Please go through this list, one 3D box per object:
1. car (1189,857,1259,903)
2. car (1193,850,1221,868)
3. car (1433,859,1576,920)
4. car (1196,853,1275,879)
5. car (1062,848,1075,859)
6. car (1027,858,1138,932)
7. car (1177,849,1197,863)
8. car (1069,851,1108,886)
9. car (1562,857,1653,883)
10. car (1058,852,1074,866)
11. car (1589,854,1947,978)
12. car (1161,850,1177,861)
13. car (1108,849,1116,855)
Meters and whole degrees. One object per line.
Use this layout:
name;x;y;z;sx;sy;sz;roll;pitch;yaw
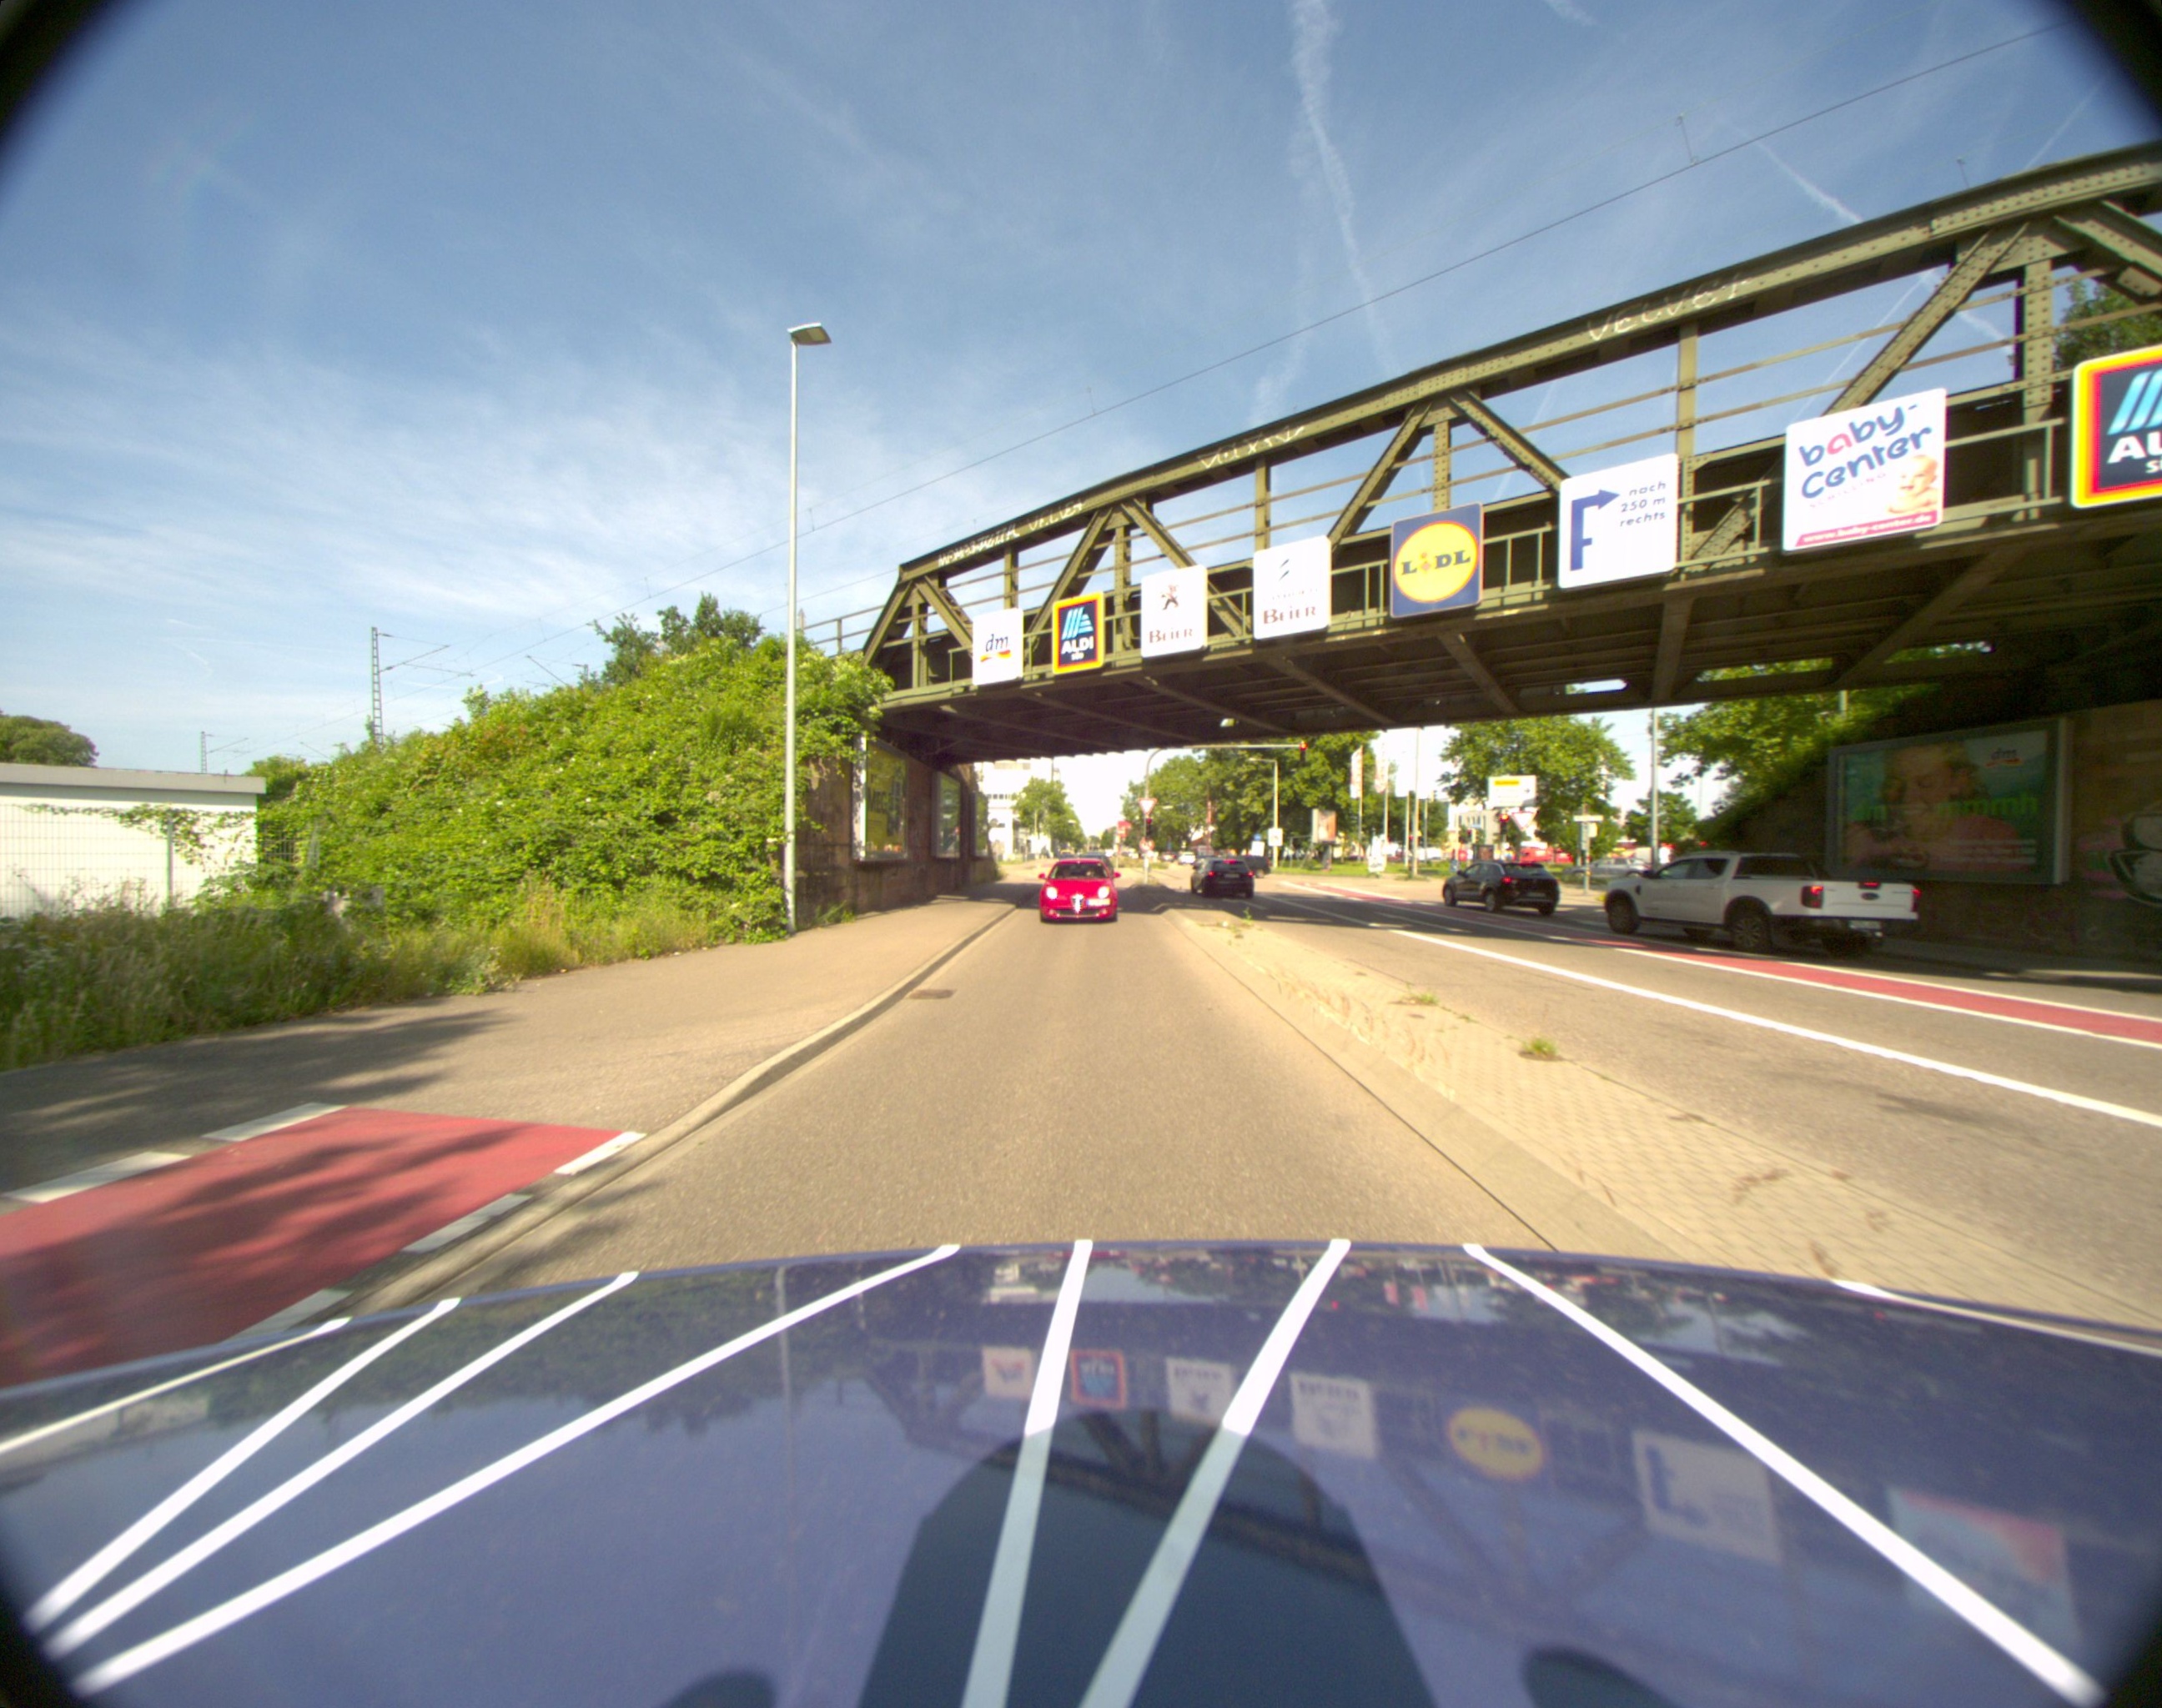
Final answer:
car;5.080;0.867;27.465;1.785;1.439;4.119;1;1;1
car;12.060;0.452;72.685;1.821;1.632;4.683;1;1;20
car;12.683;0.997;23.101;1.877;1.587;4.386;1;1;0
car;9.955;0.763;48.728;4.933;1.564;1.699;0;1;-26
car;-1.778;-0.094;110.174;1.824;1.569;4.246;1;1;-1
car;0.165;0.871;17.947;1.796;1.446;3.982;-1;1;12
car;13.515;0.205;96.923;1.824;1.712;3.635;-1;1;-2
car;0.414;0.709;38.600;1.824;1.632;4.112;-1;1;1
car;31.733;0.916;45.885;4.446;1.407;1.707;2;1;35
car;-1.686;0.579;88.279;1.824;1.569;4.246;1;1;-1
car;12.826;1.000;14.897;1.998;1.850;5.450;2;1;0
car;14.021;0.279;121.335;1.927;1.712;3.824;-1;1;-2
car;8.394;-0.600;207.901;1.927;1.507;3.824;-1;1;-2
